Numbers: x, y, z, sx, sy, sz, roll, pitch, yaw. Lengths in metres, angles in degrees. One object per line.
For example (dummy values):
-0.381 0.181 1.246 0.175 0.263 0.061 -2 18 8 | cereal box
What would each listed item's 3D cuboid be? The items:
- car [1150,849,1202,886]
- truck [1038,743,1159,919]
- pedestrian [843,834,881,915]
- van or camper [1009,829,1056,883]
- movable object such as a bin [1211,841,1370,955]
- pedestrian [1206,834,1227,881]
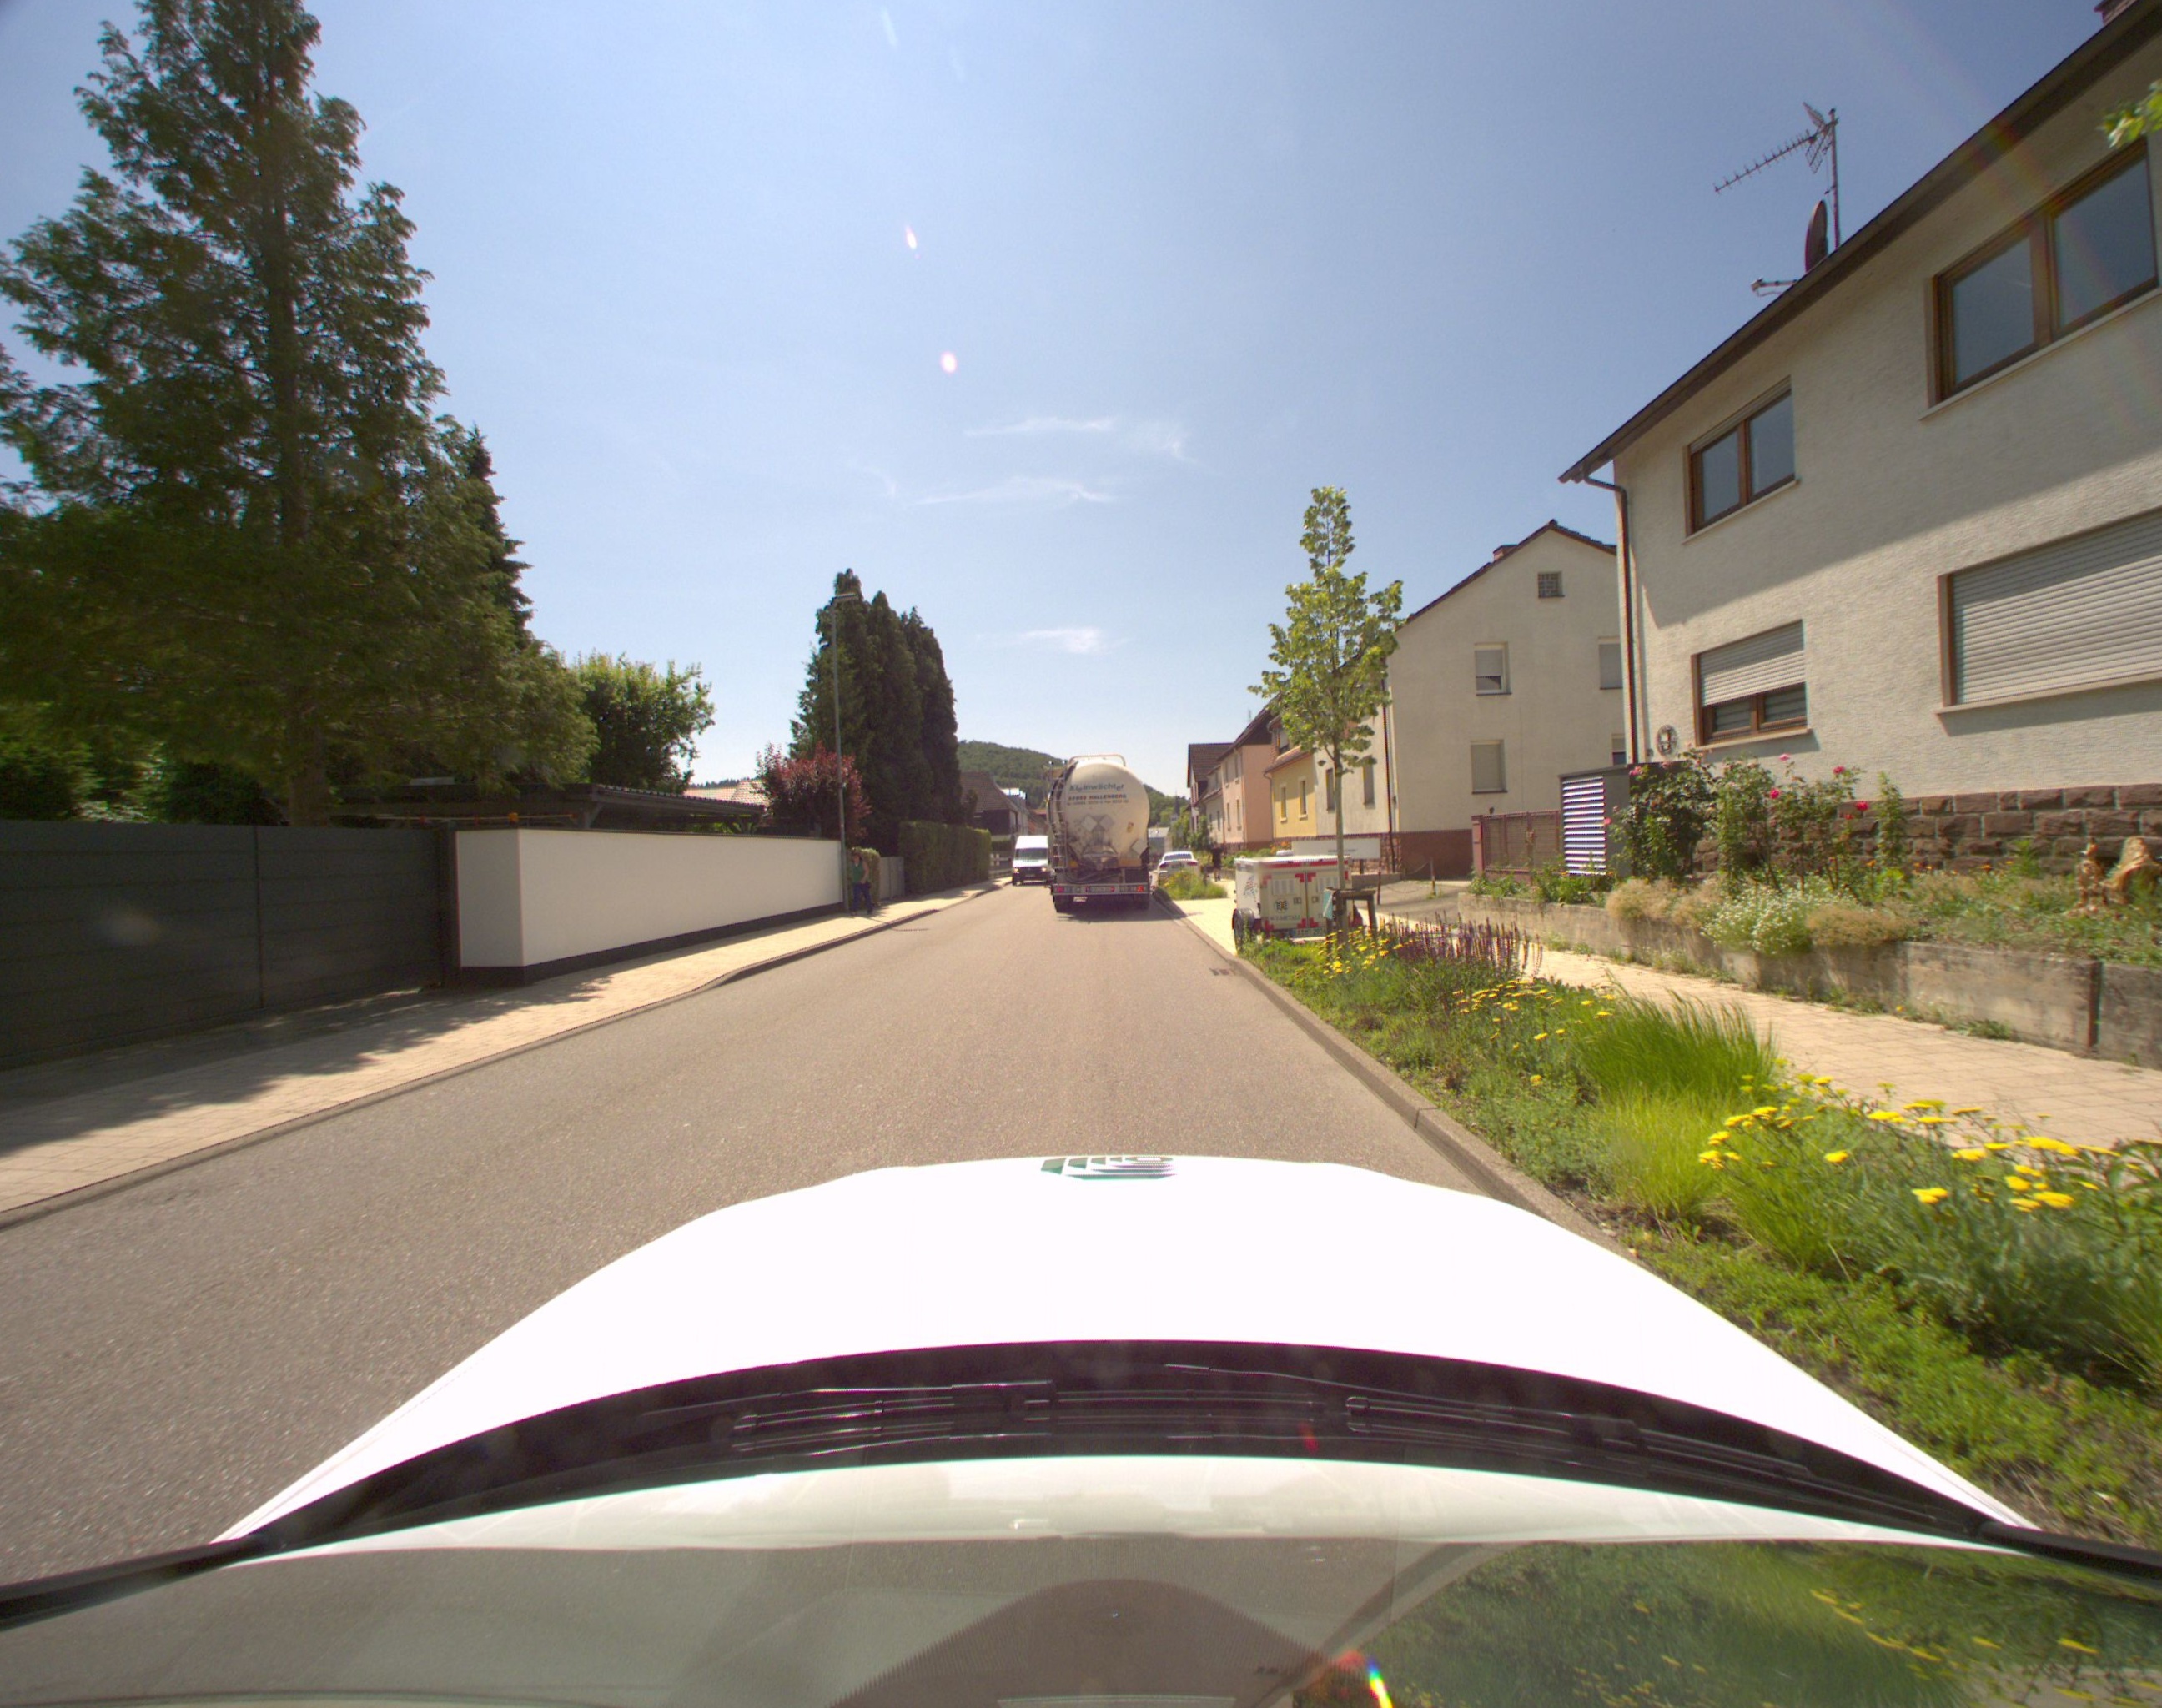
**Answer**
4.085 0.604 35.710 1.750 1.418 4.633 -4 -2 1 | car
0.503 -0.532 24.508 2.740 4.056 10.890 -1 0 1 | truck
-5.523 0.510 20.552 0.718 2.014 0.804 -1 -1 0 | pedestrian
-2.510 0.159 43.745 2.030 2.713 5.824 -1 -1 1 | van or camper
2.981 0.598 12.157 1.566 1.417 3.041 -3 -1 1 | movable object such as a bin
5.877 0.165 35.309 0.743 2.014 1.034 -1 -1 3 | pedestrian
